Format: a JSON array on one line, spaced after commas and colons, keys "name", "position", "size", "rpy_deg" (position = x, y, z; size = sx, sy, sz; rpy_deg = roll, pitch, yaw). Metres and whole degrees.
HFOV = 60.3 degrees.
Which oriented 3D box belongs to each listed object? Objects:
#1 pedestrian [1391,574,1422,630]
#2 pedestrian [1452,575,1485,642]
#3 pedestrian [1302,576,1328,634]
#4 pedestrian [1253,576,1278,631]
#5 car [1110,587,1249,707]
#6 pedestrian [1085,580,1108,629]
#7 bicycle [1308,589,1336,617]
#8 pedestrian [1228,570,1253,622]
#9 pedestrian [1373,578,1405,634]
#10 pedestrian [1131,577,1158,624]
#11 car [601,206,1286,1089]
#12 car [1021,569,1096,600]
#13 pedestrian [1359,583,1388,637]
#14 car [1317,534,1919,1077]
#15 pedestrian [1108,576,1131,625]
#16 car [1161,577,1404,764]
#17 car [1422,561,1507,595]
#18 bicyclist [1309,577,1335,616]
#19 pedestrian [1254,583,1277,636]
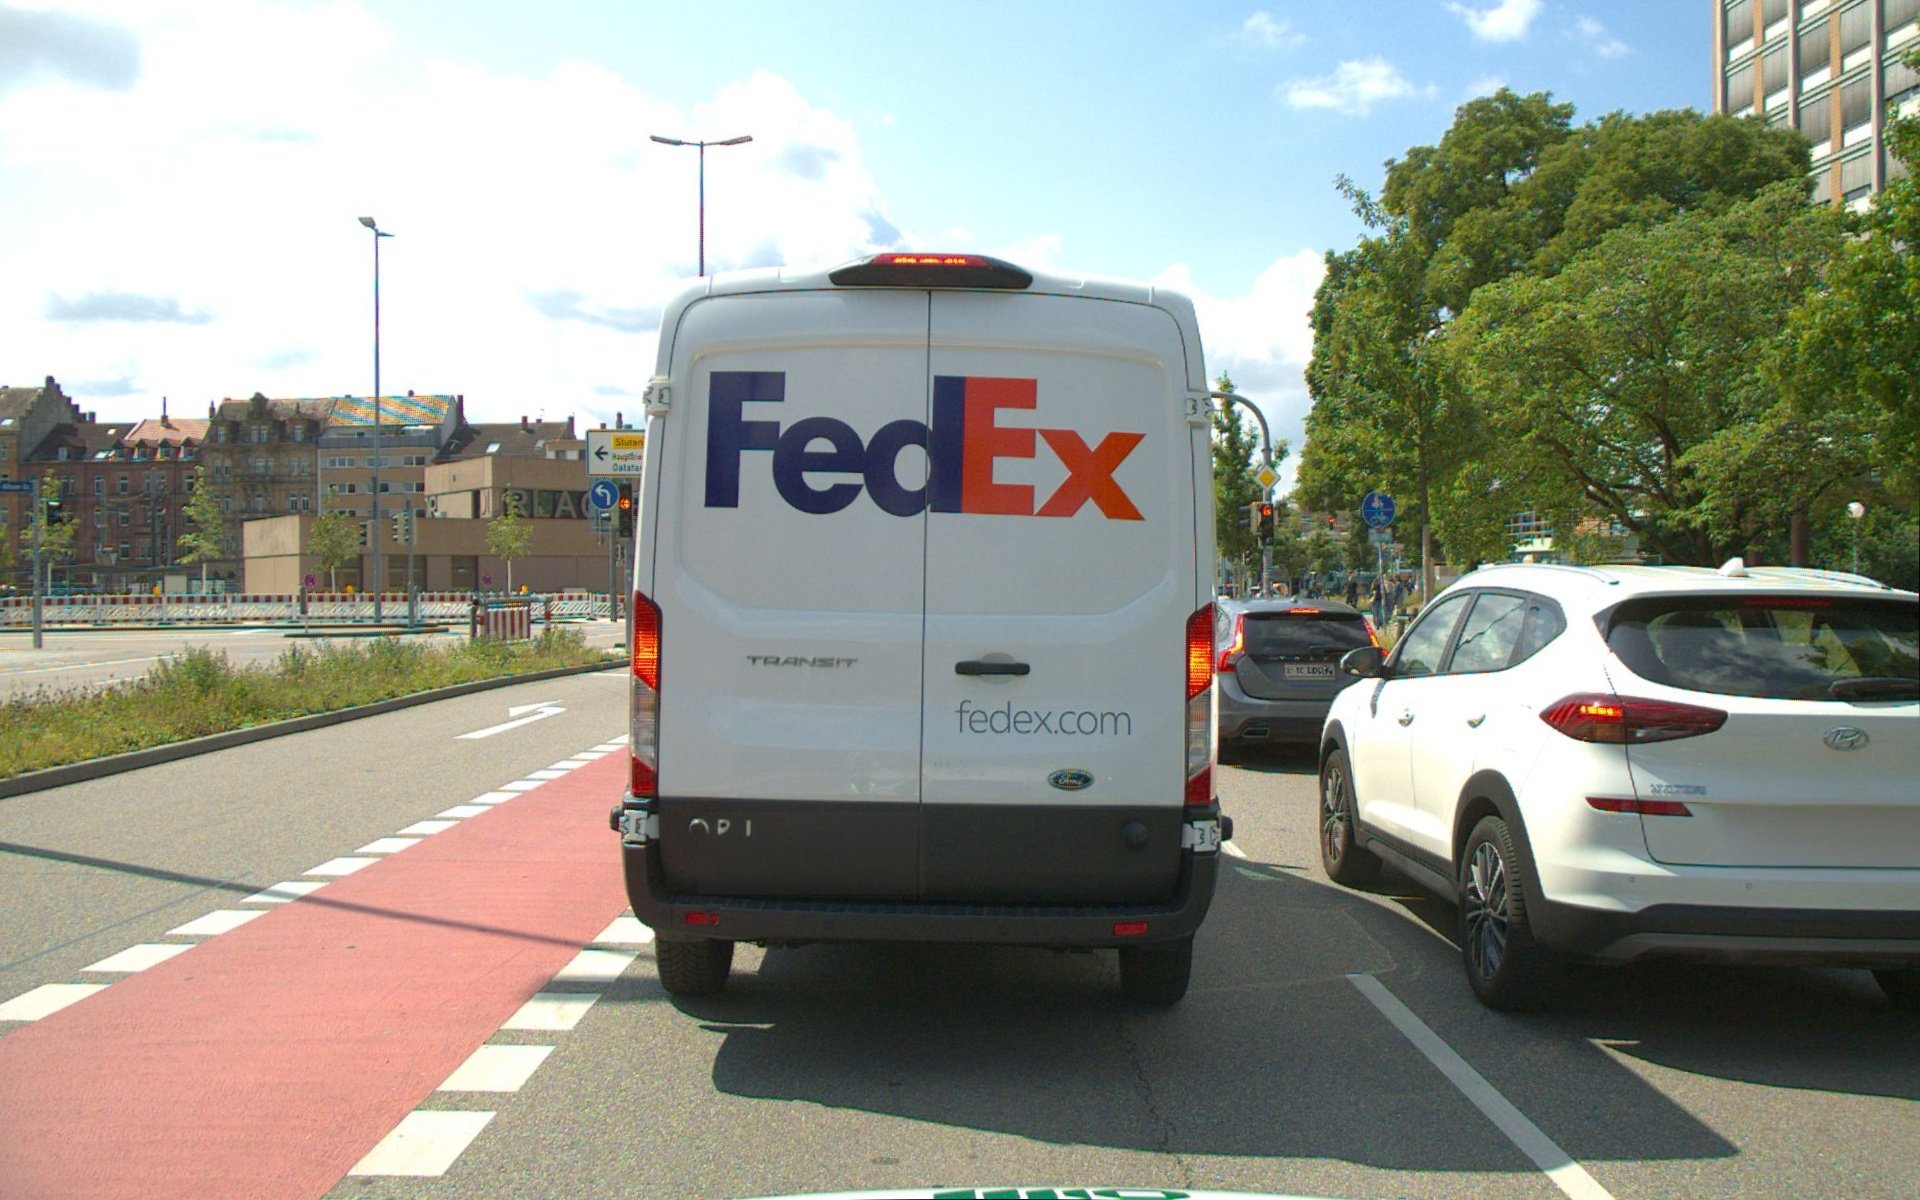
[{"name": "pedestrian", "position": [15.190, 0.046, 56.231], "size": [0.745, 1.882, 0.814], "rpy_deg": [0, 0, -9]}, {"name": "pedestrian", "position": [14.485, 0.246, 47.110], "size": [0.743, 1.882, 0.817], "rpy_deg": [0, 0, 5]}, {"name": "pedestrian", "position": [11.506, 0.160, 53.643], "size": [0.743, 1.882, 0.816], "rpy_deg": [0, 0, 18]}, {"name": "pedestrian", "position": [10.490, 0.127, 56.832], "size": [0.743, 1.882, 0.816], "rpy_deg": [0, 0, 18]}, {"name": "car", "position": [2.929, 0.584, 22.619], "size": [1.468, 1.489, 3.474], "rpy_deg": [0, 1, 1]}, {"name": "pedestrian", "position": [5.363, 0.173, 65.019], "size": [0.743, 1.882, 0.816], "rpy_deg": [0, 0, 18]}, {"name": "bicycle", "position": [20.728, 0.164, 94.670], "size": [1.395, 1.489, 4.314], "rpy_deg": [0, 1, 14]}, {"name": "pedestrian", "position": [10.176, -0.151, 60.108], "size": [0.796, 1.882, 0.761], "rpy_deg": [0, 0, 2]}, {"name": "pedestrian", "position": [14.479, 0.188, 55.813], "size": [0.745, 1.882, 0.814], "rpy_deg": [-1, 0, -11]}, {"name": "pedestrian", "position": [7.460, -0.001, 66.807], "size": [0.753, 1.882, 0.805], "rpy_deg": [-1, 1, -38]}, {"name": "car", "position": [-0.020, 0.119, 7.154], "size": [2.030, 2.626, 4.428], "rpy_deg": [0, 1, 1]}, {"name": "car", "position": [9.235, -1.432, 154.885], "size": [6.912, 2.765, 2.497], "rpy_deg": [1, 0, 5]}, {"name": "pedestrian", "position": [12.980, 0.297, 51.937], "size": [0.743, 1.684, 0.816], "rpy_deg": [0, 0, 3]}, {"name": "car", "position": [2.851, 0.624, 7.206], "size": [1.777, 1.708, 3.974], "rpy_deg": [0, 1, 1]}, {"name": "pedestrian", "position": [6.145, 0.009, 63.730], "size": [0.744, 1.882, 0.816], "rpy_deg": [0, 0, -3]}, {"name": "car", "position": [2.968, 0.580, 15.921], "size": [1.656, 1.576, 3.721], "rpy_deg": [0, 1, 1]}, {"name": "car", "position": [44.594, -1.928, 146.201], "size": [6.940, 2.765, 2.487], "rpy_deg": [1, 0, -14]}, {"name": "bicyclist", "position": [20.692, -0.184, 94.503], "size": [1.402, 2.209, 1.340], "rpy_deg": [0, 0, 14]}, {"name": "pedestrian", "position": [10.929, 0.345, 59.195], "size": [0.742, 1.882, 0.817], "rpy_deg": [0, 0, 14]}]
